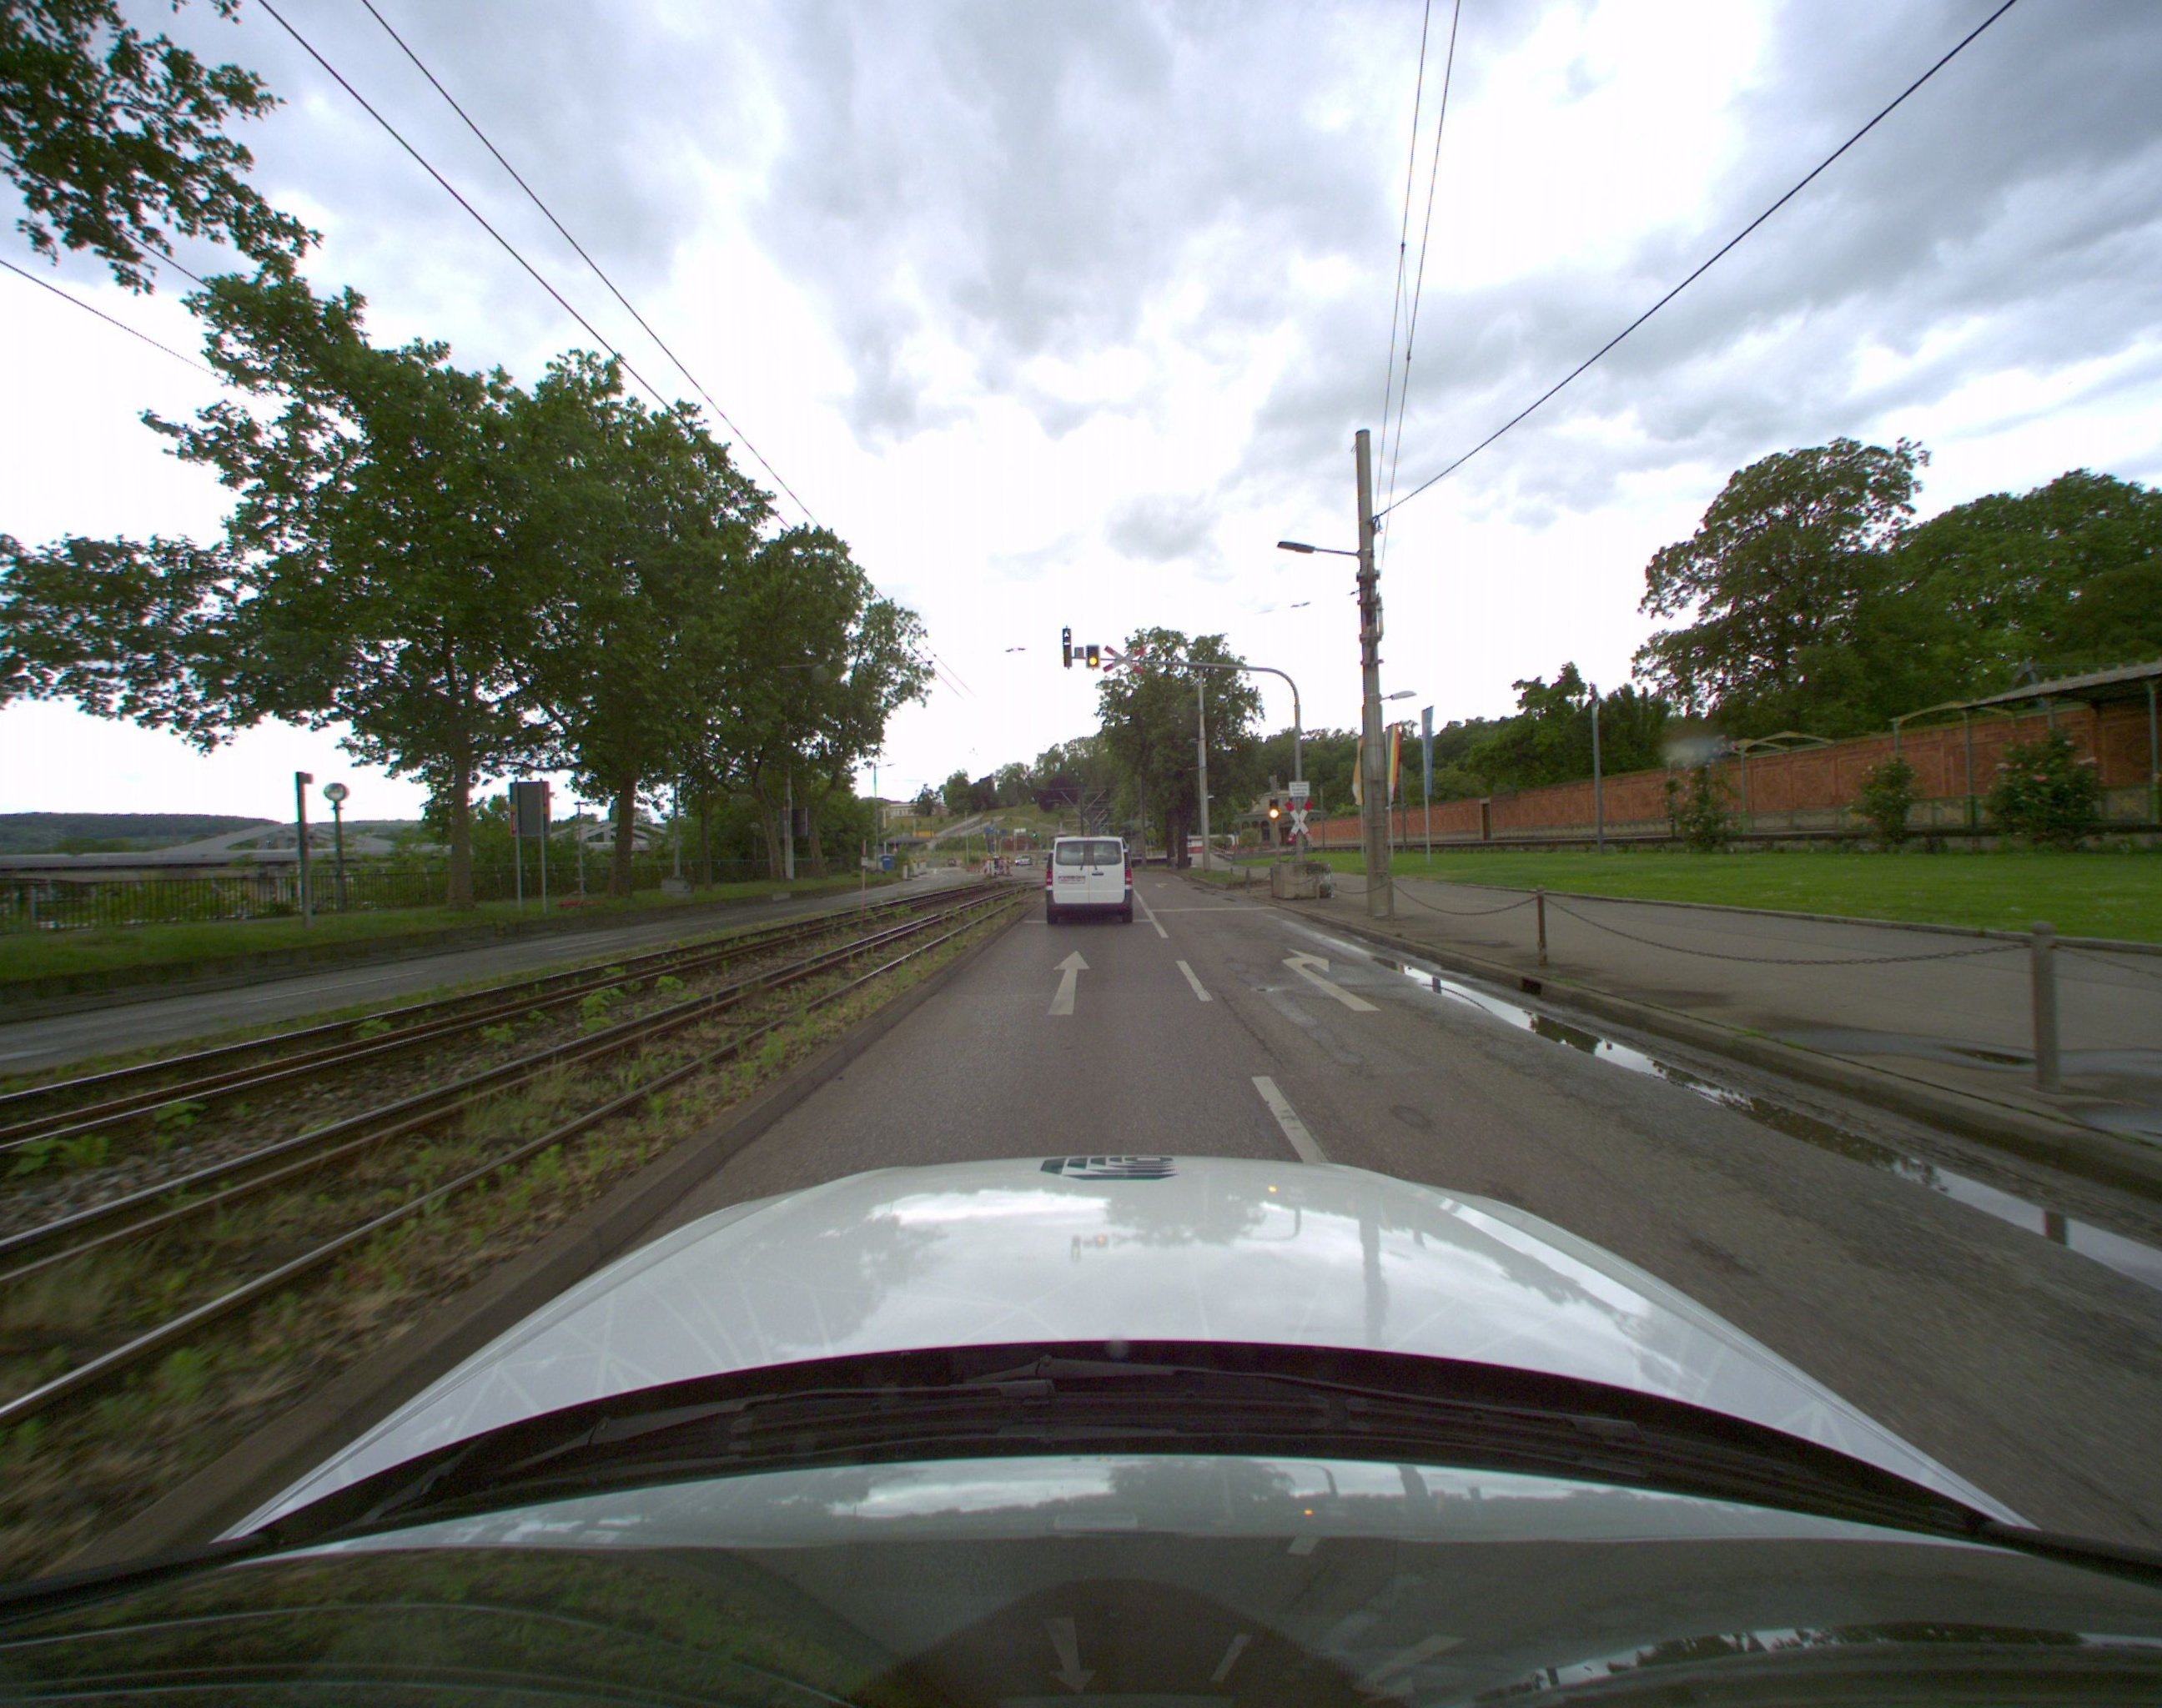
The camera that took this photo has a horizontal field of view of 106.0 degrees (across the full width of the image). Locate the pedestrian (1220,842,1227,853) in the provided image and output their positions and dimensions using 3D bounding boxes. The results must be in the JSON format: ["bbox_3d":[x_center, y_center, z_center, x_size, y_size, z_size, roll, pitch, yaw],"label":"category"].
[{"bbox_3d":[14.579,-0.657,83.203,0.547,1.201,0.668,0,-1,-4],"label":"pedestrian"}]

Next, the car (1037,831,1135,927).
[{"bbox_3d":[0.155,0.521,18.648,1.952,1.904,4.462,-1,0,1],"label":"car"}]

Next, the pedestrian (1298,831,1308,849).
[{"bbox_3d":[23.660,-1.493,86.944,0.943,1.838,0.551,0,-1,8],"label":"pedestrian"}]

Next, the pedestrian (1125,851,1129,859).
[{"bbox_3d":[6.942,0.174,123.190,0.654,1.191,0.676,0,-1,4],"label":"pedestrian"}]

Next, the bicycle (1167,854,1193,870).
[{"bbox_3d":[7.729,0.594,63.833,1.981,1.158,0.742,-3,-1,6],"label":"bicycle"}]

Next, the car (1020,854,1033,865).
[{"bbox_3d":[-8.989,0.978,135.058,1.746,1.772,4.002,0,-1,2],"label":"car"}]

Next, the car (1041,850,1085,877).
[{"bbox_3d":[-1.153,0.592,50.176,1.841,1.582,4.041,-1,0,-15],"label":"car"}]

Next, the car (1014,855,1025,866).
[{"bbox_3d":[-12.069,1.268,160.691,1.929,2.014,3.996,0,-1,-2],"label":"car"}]

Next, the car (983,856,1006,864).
[{"bbox_3d":[-19.125,1.334,180.648,4.677,1.477,2.007,-3,1,12],"label":"car"}]
